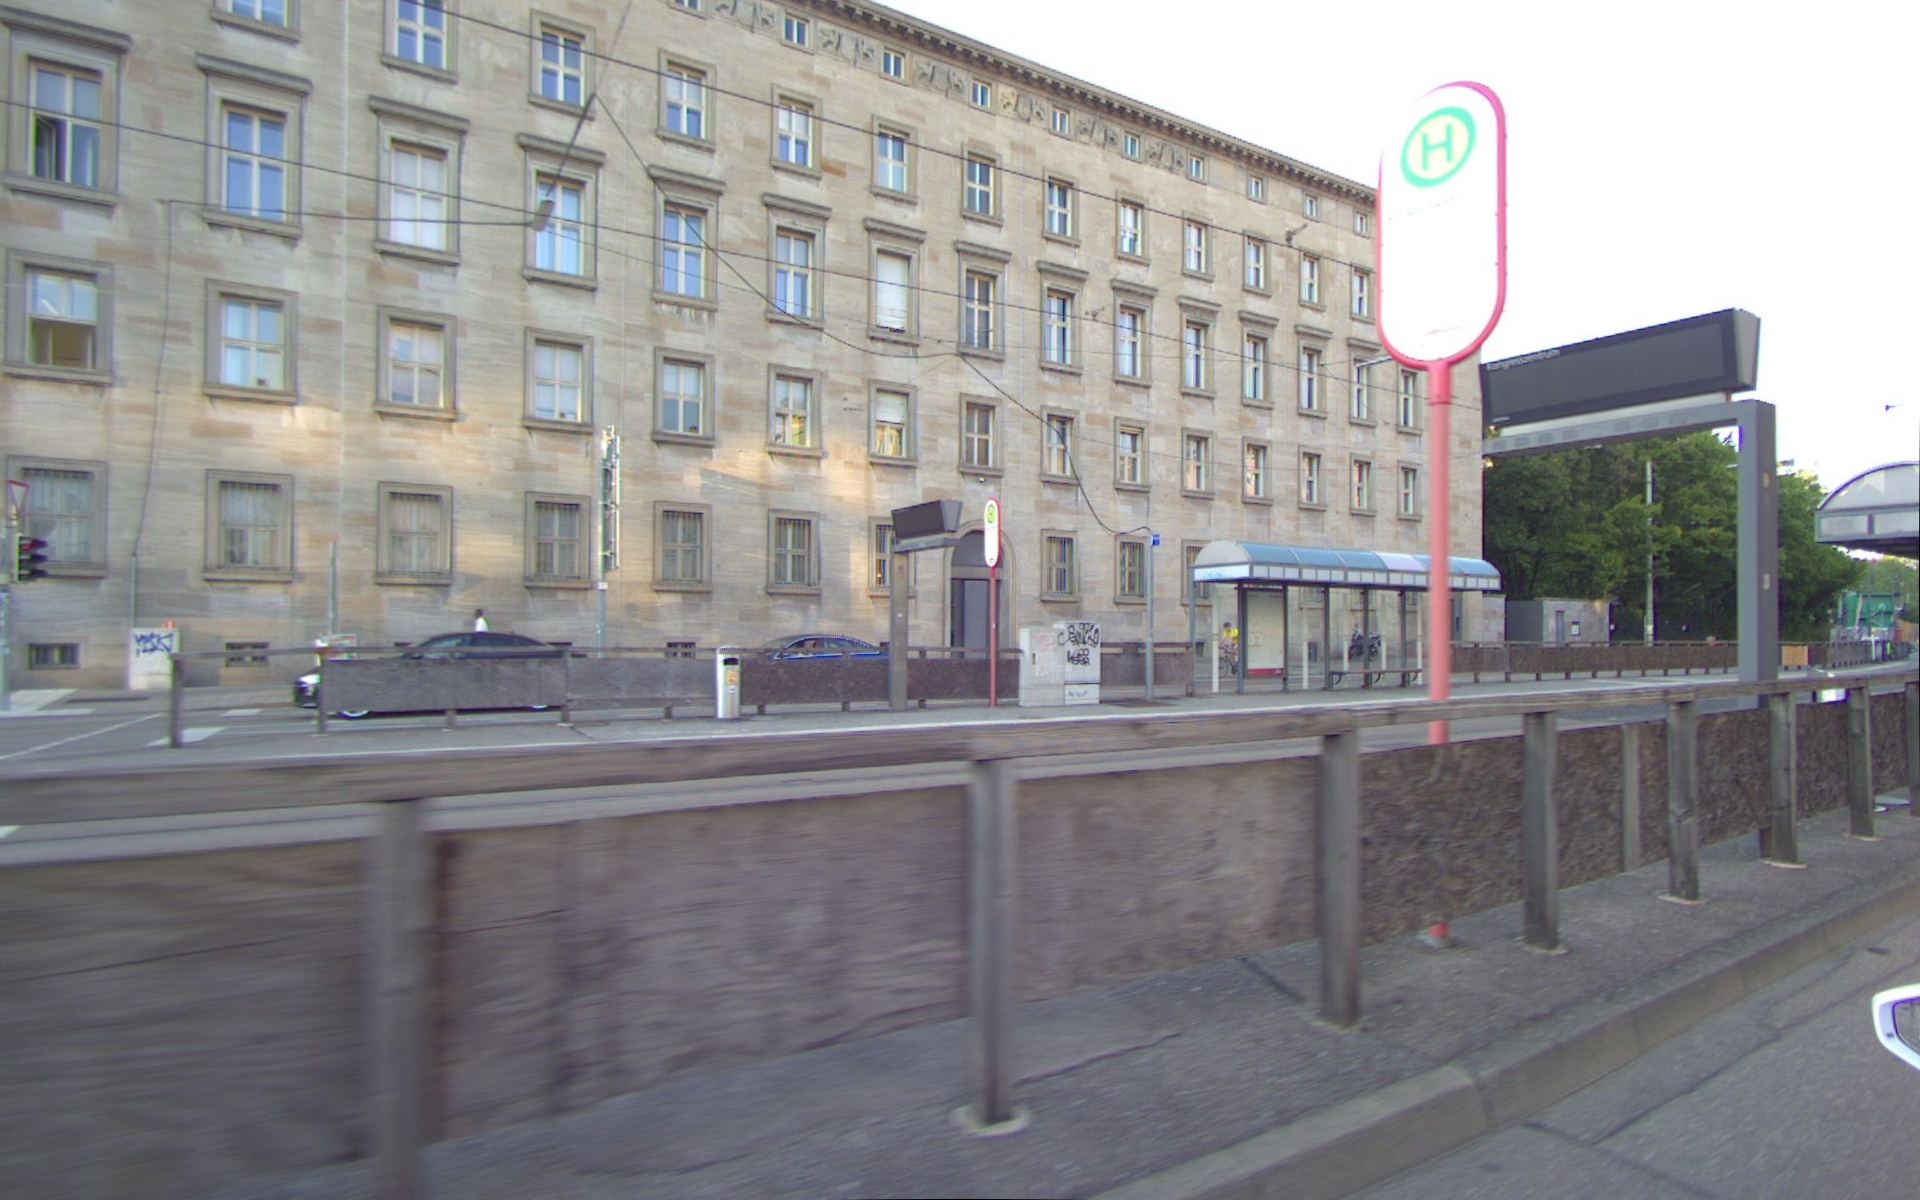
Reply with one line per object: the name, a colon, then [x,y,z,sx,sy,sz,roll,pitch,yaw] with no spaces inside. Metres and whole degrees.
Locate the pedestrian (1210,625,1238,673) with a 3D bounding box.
pedestrian: [8.376,1.548,31.856,0.768,1.490,0.471,1,-1,-31]

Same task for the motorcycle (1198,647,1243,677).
motorcycle: [8.330,1.975,32.114,1.493,0.940,0.474,1,-1,-32]

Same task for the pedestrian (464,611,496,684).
pedestrian: [-11.628,1.151,24.322,0.638,1.732,0.693,1,-1,-28]

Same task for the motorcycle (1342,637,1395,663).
motorcycle: [17.356,2.100,42.656,2.624,1.089,0.695,1,-2,-32]

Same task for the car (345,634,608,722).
car: [-8.808,1.349,18.423,4.185,1.446,1.634,1,-2,-32]

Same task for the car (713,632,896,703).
car: [-3.405,1.435,22.174,3.663,1.446,1.634,1,-2,-32]
